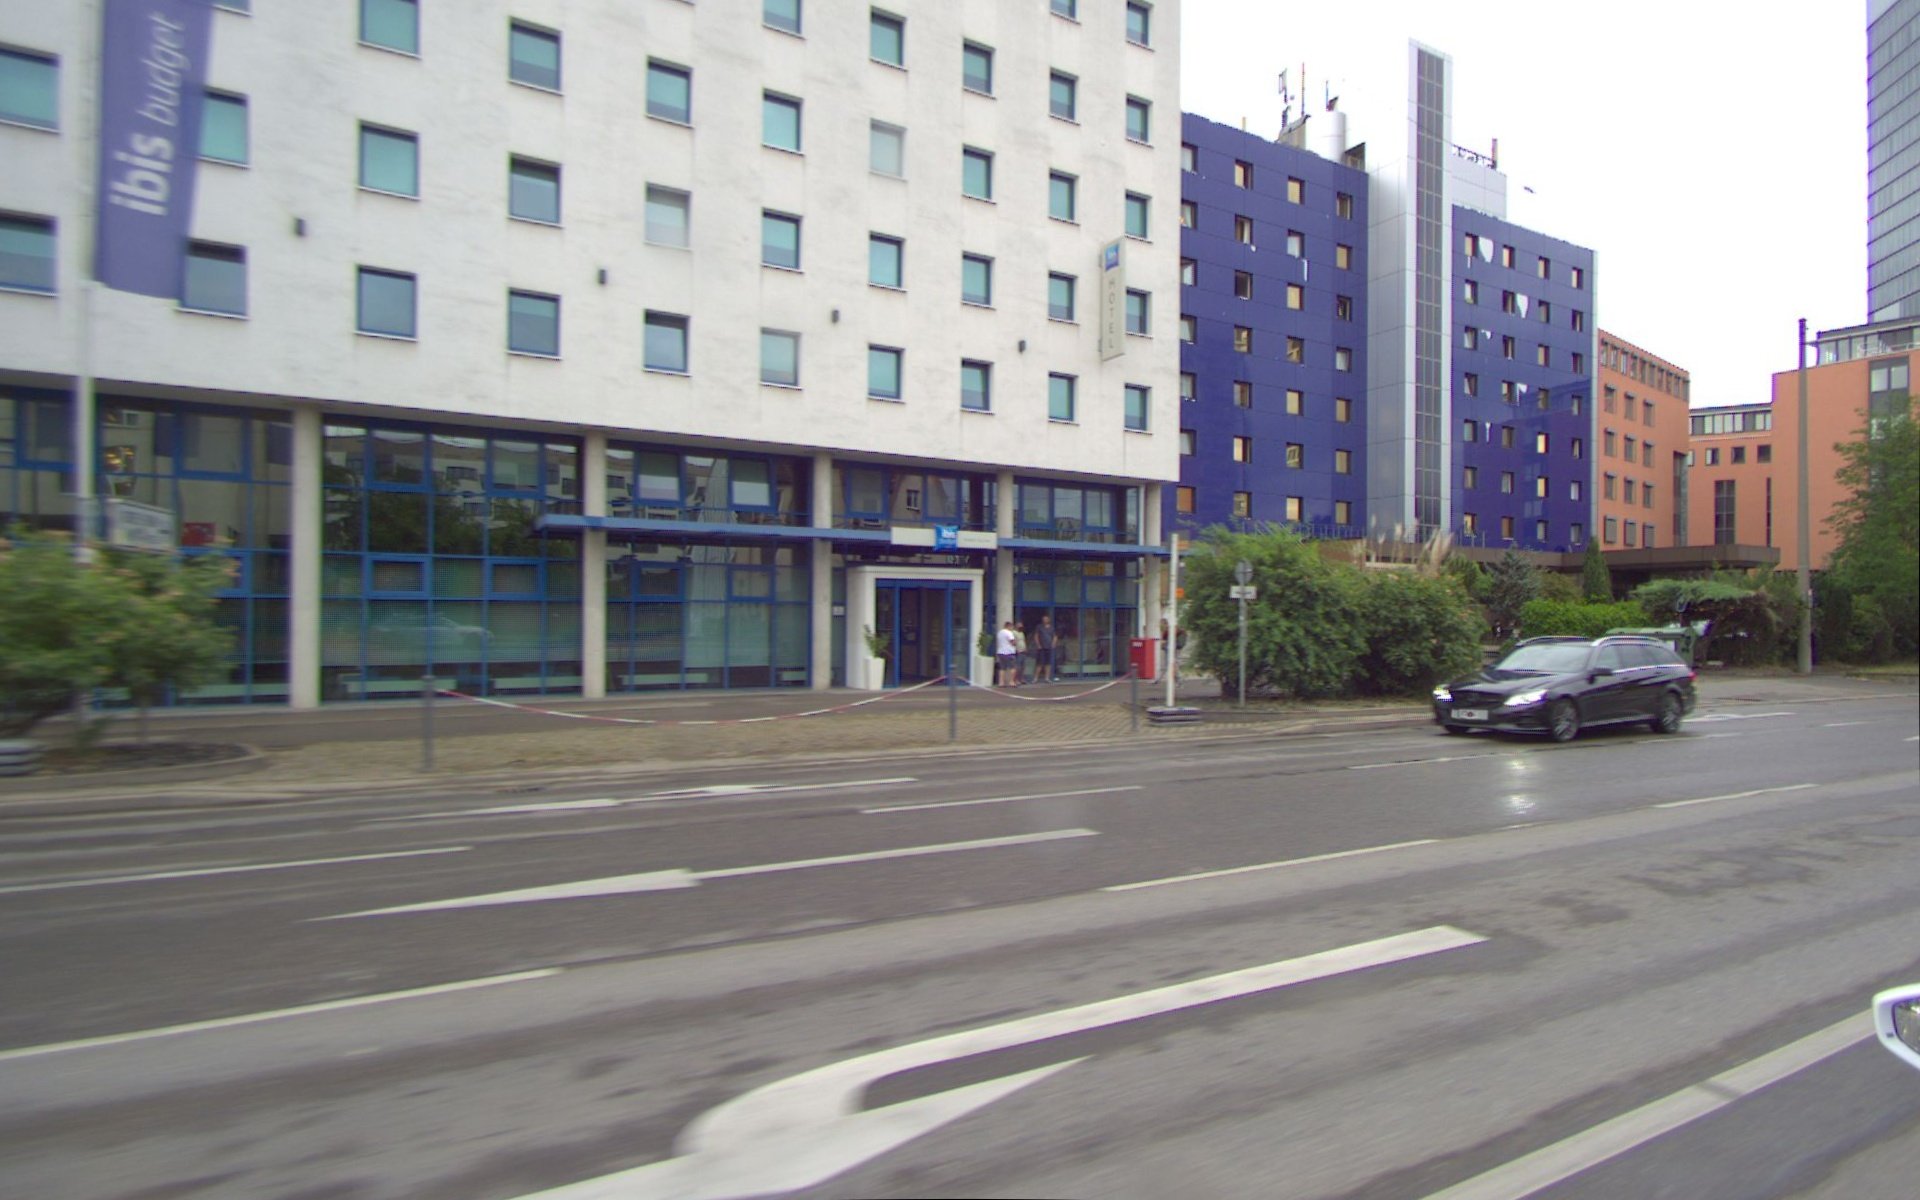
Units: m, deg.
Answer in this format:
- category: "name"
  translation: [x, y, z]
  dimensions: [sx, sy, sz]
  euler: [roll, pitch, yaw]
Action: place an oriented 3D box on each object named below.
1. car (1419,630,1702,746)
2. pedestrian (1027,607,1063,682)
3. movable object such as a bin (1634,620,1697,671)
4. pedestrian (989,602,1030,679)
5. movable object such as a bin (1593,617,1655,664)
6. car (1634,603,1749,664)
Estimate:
- category: "car"
  translation: [9.399, 1.263, 15.622]
  dimensions: [4.643, 1.496, 1.725]
  euler: [0, -2, -30]
- category: "pedestrian"
  translation: [2.349, 1.236, 27.838]
  dimensions: [0.883, 2.039, 0.815]
  euler: [1, -4, 0]
- category: "movable object such as a bin"
  translation: [21.937, 1.430, 31.259]
  dimensions: [0.943, 1.510, 1.379]
  euler: [4, -5, -39]
- category: "pedestrian"
  translation: [1.359, 1.113, 27.308]
  dimensions: [0.801, 2.039, 0.803]
  euler: [-1, -4, 33]
- category: "movable object such as a bin"
  translation: [21.729, 1.345, 32.901]
  dimensions: [0.936, 1.510, 1.390]
  euler: [2, -4, -18]
- category: "car"
  translation: [26.824, 1.271, 36.815]
  dimensions: [4.265, 2.039, 1.828]
  euler: [3, -4, -30]
